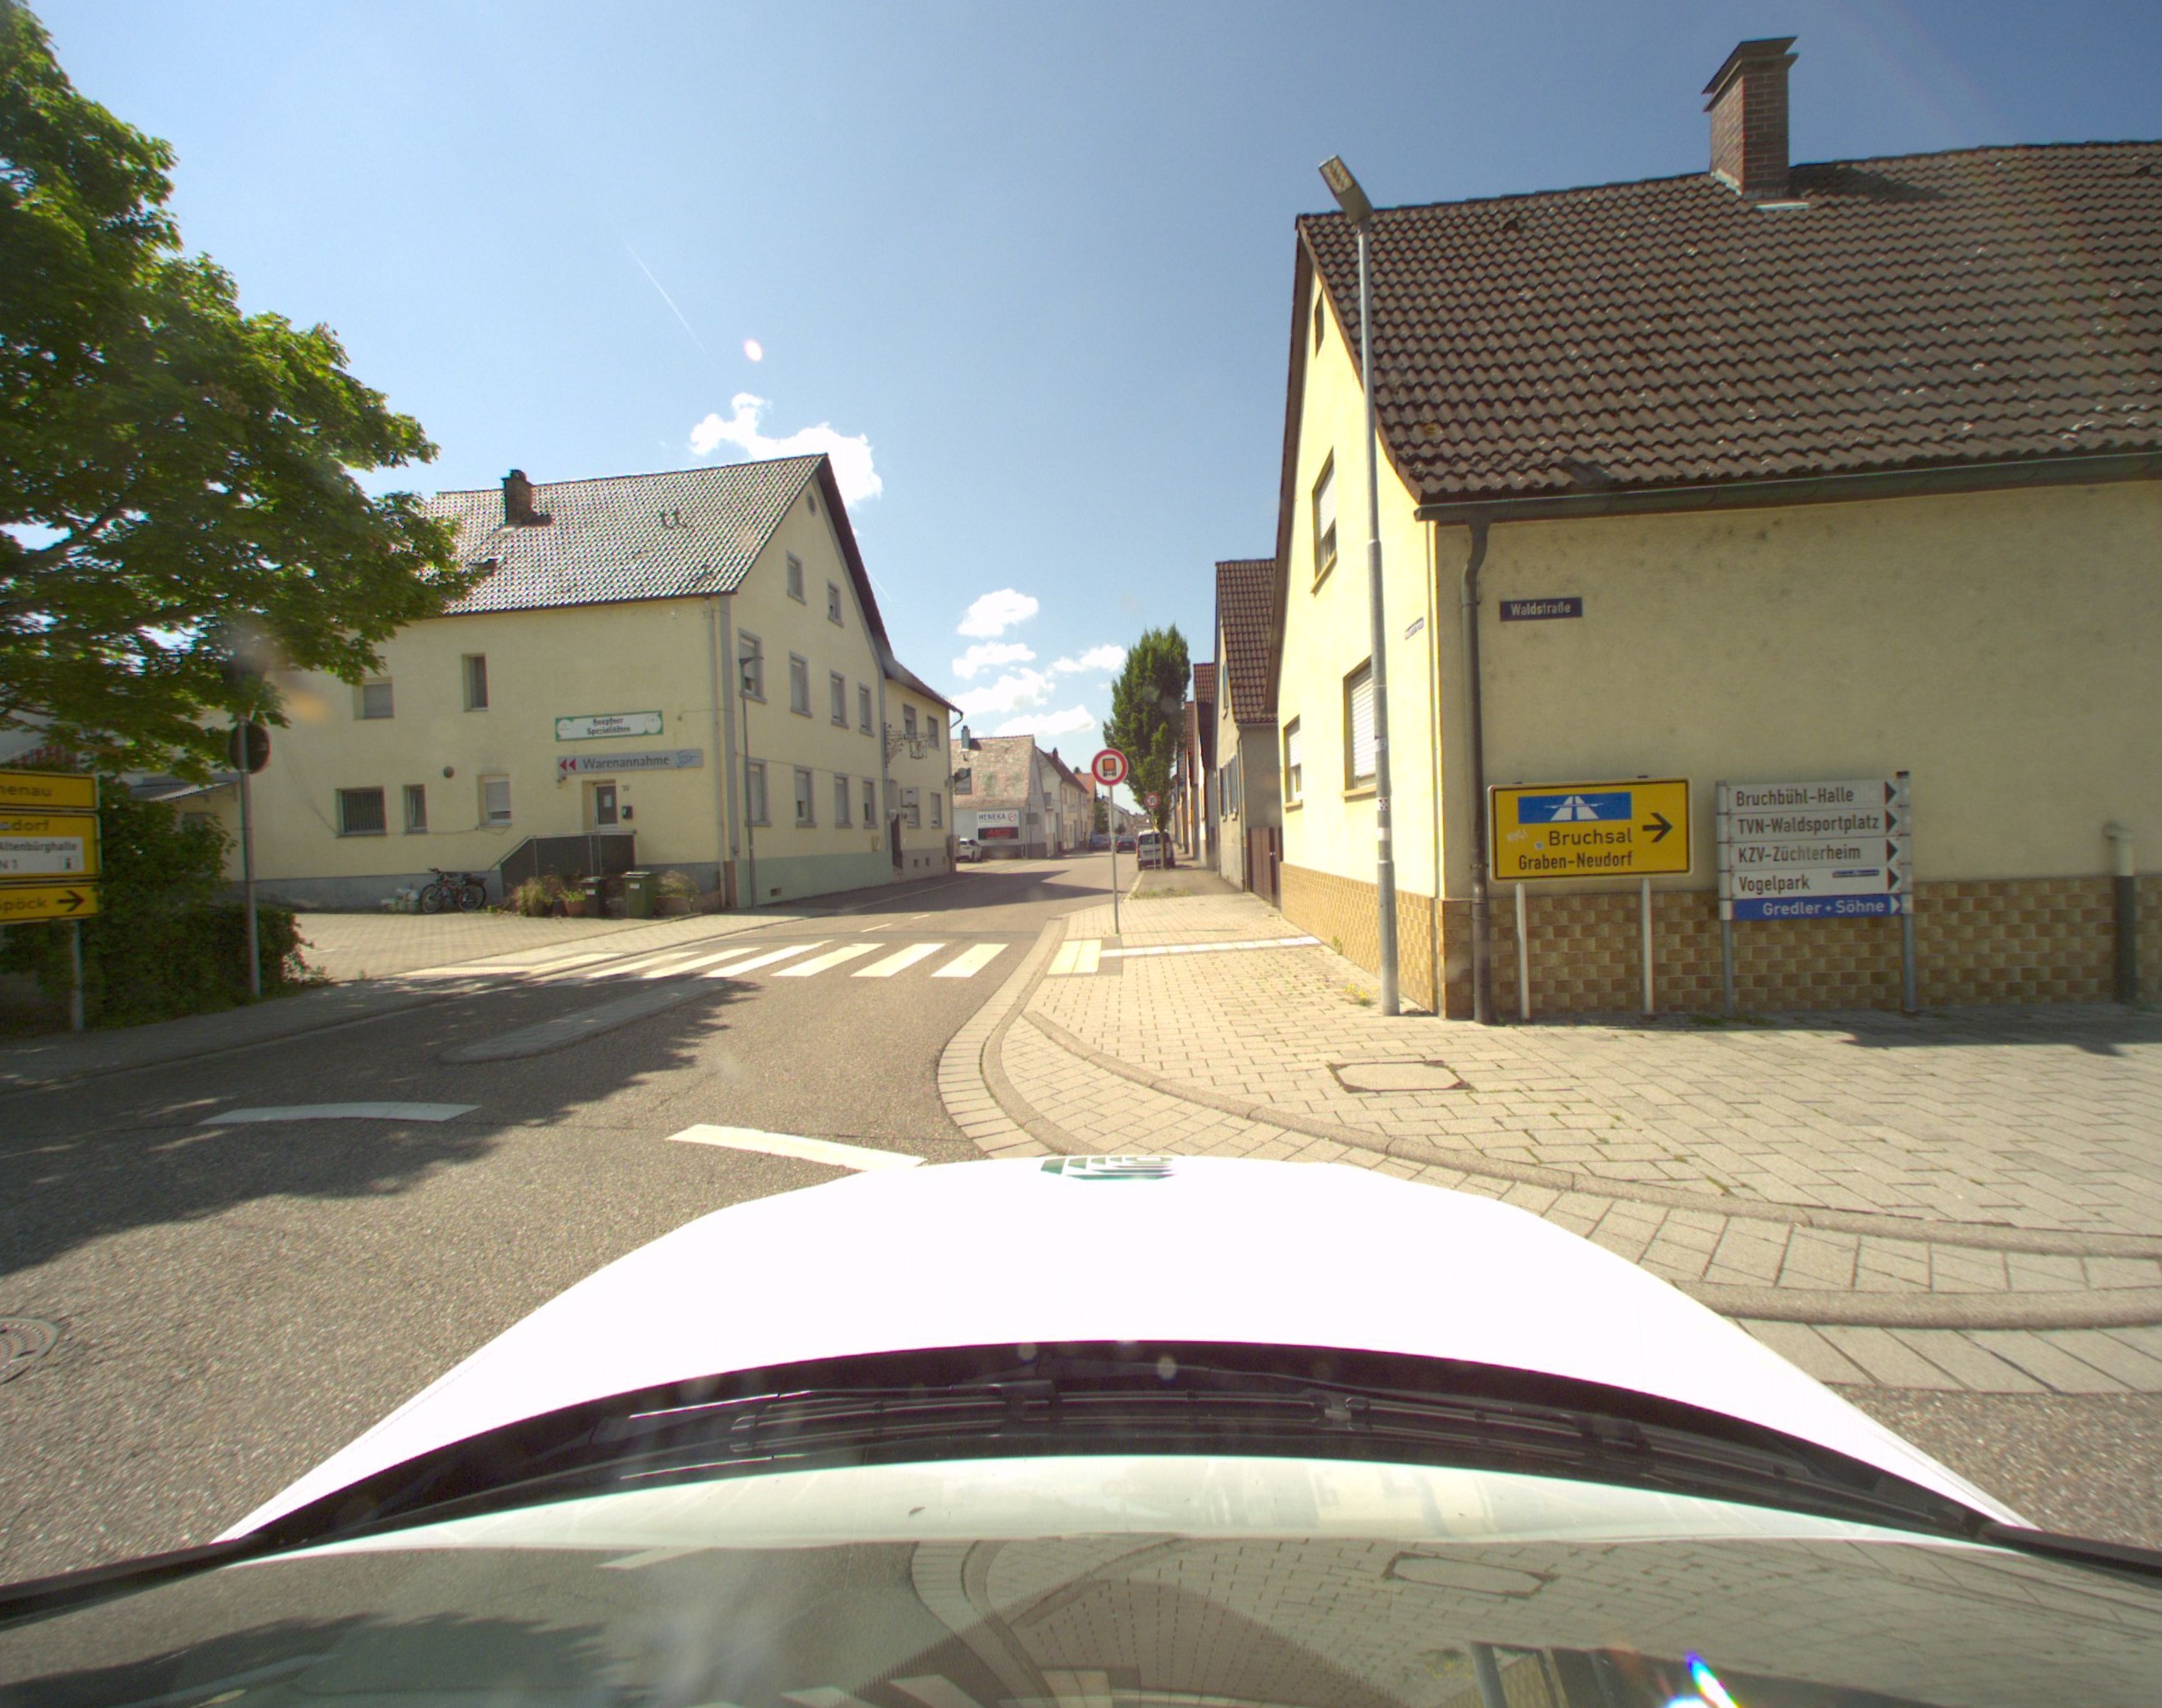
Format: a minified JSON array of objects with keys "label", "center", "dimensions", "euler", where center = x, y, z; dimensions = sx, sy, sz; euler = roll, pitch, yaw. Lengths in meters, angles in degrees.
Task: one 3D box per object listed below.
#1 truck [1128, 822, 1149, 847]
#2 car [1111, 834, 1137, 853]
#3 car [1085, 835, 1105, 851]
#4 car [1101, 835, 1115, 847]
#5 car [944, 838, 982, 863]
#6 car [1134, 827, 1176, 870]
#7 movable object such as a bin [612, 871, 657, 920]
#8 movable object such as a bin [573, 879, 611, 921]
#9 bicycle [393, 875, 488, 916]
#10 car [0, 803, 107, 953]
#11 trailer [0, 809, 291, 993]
[{"label":"truck","center":[10.011,-3.367,140.564],"dimensions":[3.128,4.250,9.320],"euler":[0,1,7]},{"label":"car","center":[3.736,-0.927,69.370],"dimensions":[1.892,1.563,4.485],"euler":[-1,1,6]},{"label":"car","center":[1.563,-1.224,89.468],"dimensions":[1.801,1.589,4.006],"euler":[-2,1,5]},{"label":"car","center":[3.807,-1.849,114.058],"dimensions":[1.801,1.589,4.006],"euler":[-2,1,5]},{"label":"car","center":[-7.988,-0.256,55.428],"dimensions":[1.712,1.556,4.204],"euler":[-1,1,4]},{"label":"car","center":[3.390,-0.297,37.814],"dimensions":[1.712,1.790,4.149],"euler":[-4,1,4]},{"label":"movable object such as a bin","center":[-10.308,0.951,18.820],"dimensions":[0.596,1.078,0.660],"euler":[-2,1,8]},{"label":"movable object such as a bin","center":[-11.299,1.055,18.828],"dimensions":[0.476,0.928,0.548],"euler":[-2,1,8]},{"label":"bicycle","center":[-16.226,1.046,20.636],"dimensions":[2.156,0.913,0.544],"euler":[-3,1,10]},{"label":"car","center":[-19.611,0.460,12.574],"dimensions":[1.927,2.566,5.658],"euler":[-1,1,6]},{"label":"trailer","center":[-14.498,0.573,11.531],"dimensions":[1.869,2.335,4.532],"euler":[-1,1,6]}]
